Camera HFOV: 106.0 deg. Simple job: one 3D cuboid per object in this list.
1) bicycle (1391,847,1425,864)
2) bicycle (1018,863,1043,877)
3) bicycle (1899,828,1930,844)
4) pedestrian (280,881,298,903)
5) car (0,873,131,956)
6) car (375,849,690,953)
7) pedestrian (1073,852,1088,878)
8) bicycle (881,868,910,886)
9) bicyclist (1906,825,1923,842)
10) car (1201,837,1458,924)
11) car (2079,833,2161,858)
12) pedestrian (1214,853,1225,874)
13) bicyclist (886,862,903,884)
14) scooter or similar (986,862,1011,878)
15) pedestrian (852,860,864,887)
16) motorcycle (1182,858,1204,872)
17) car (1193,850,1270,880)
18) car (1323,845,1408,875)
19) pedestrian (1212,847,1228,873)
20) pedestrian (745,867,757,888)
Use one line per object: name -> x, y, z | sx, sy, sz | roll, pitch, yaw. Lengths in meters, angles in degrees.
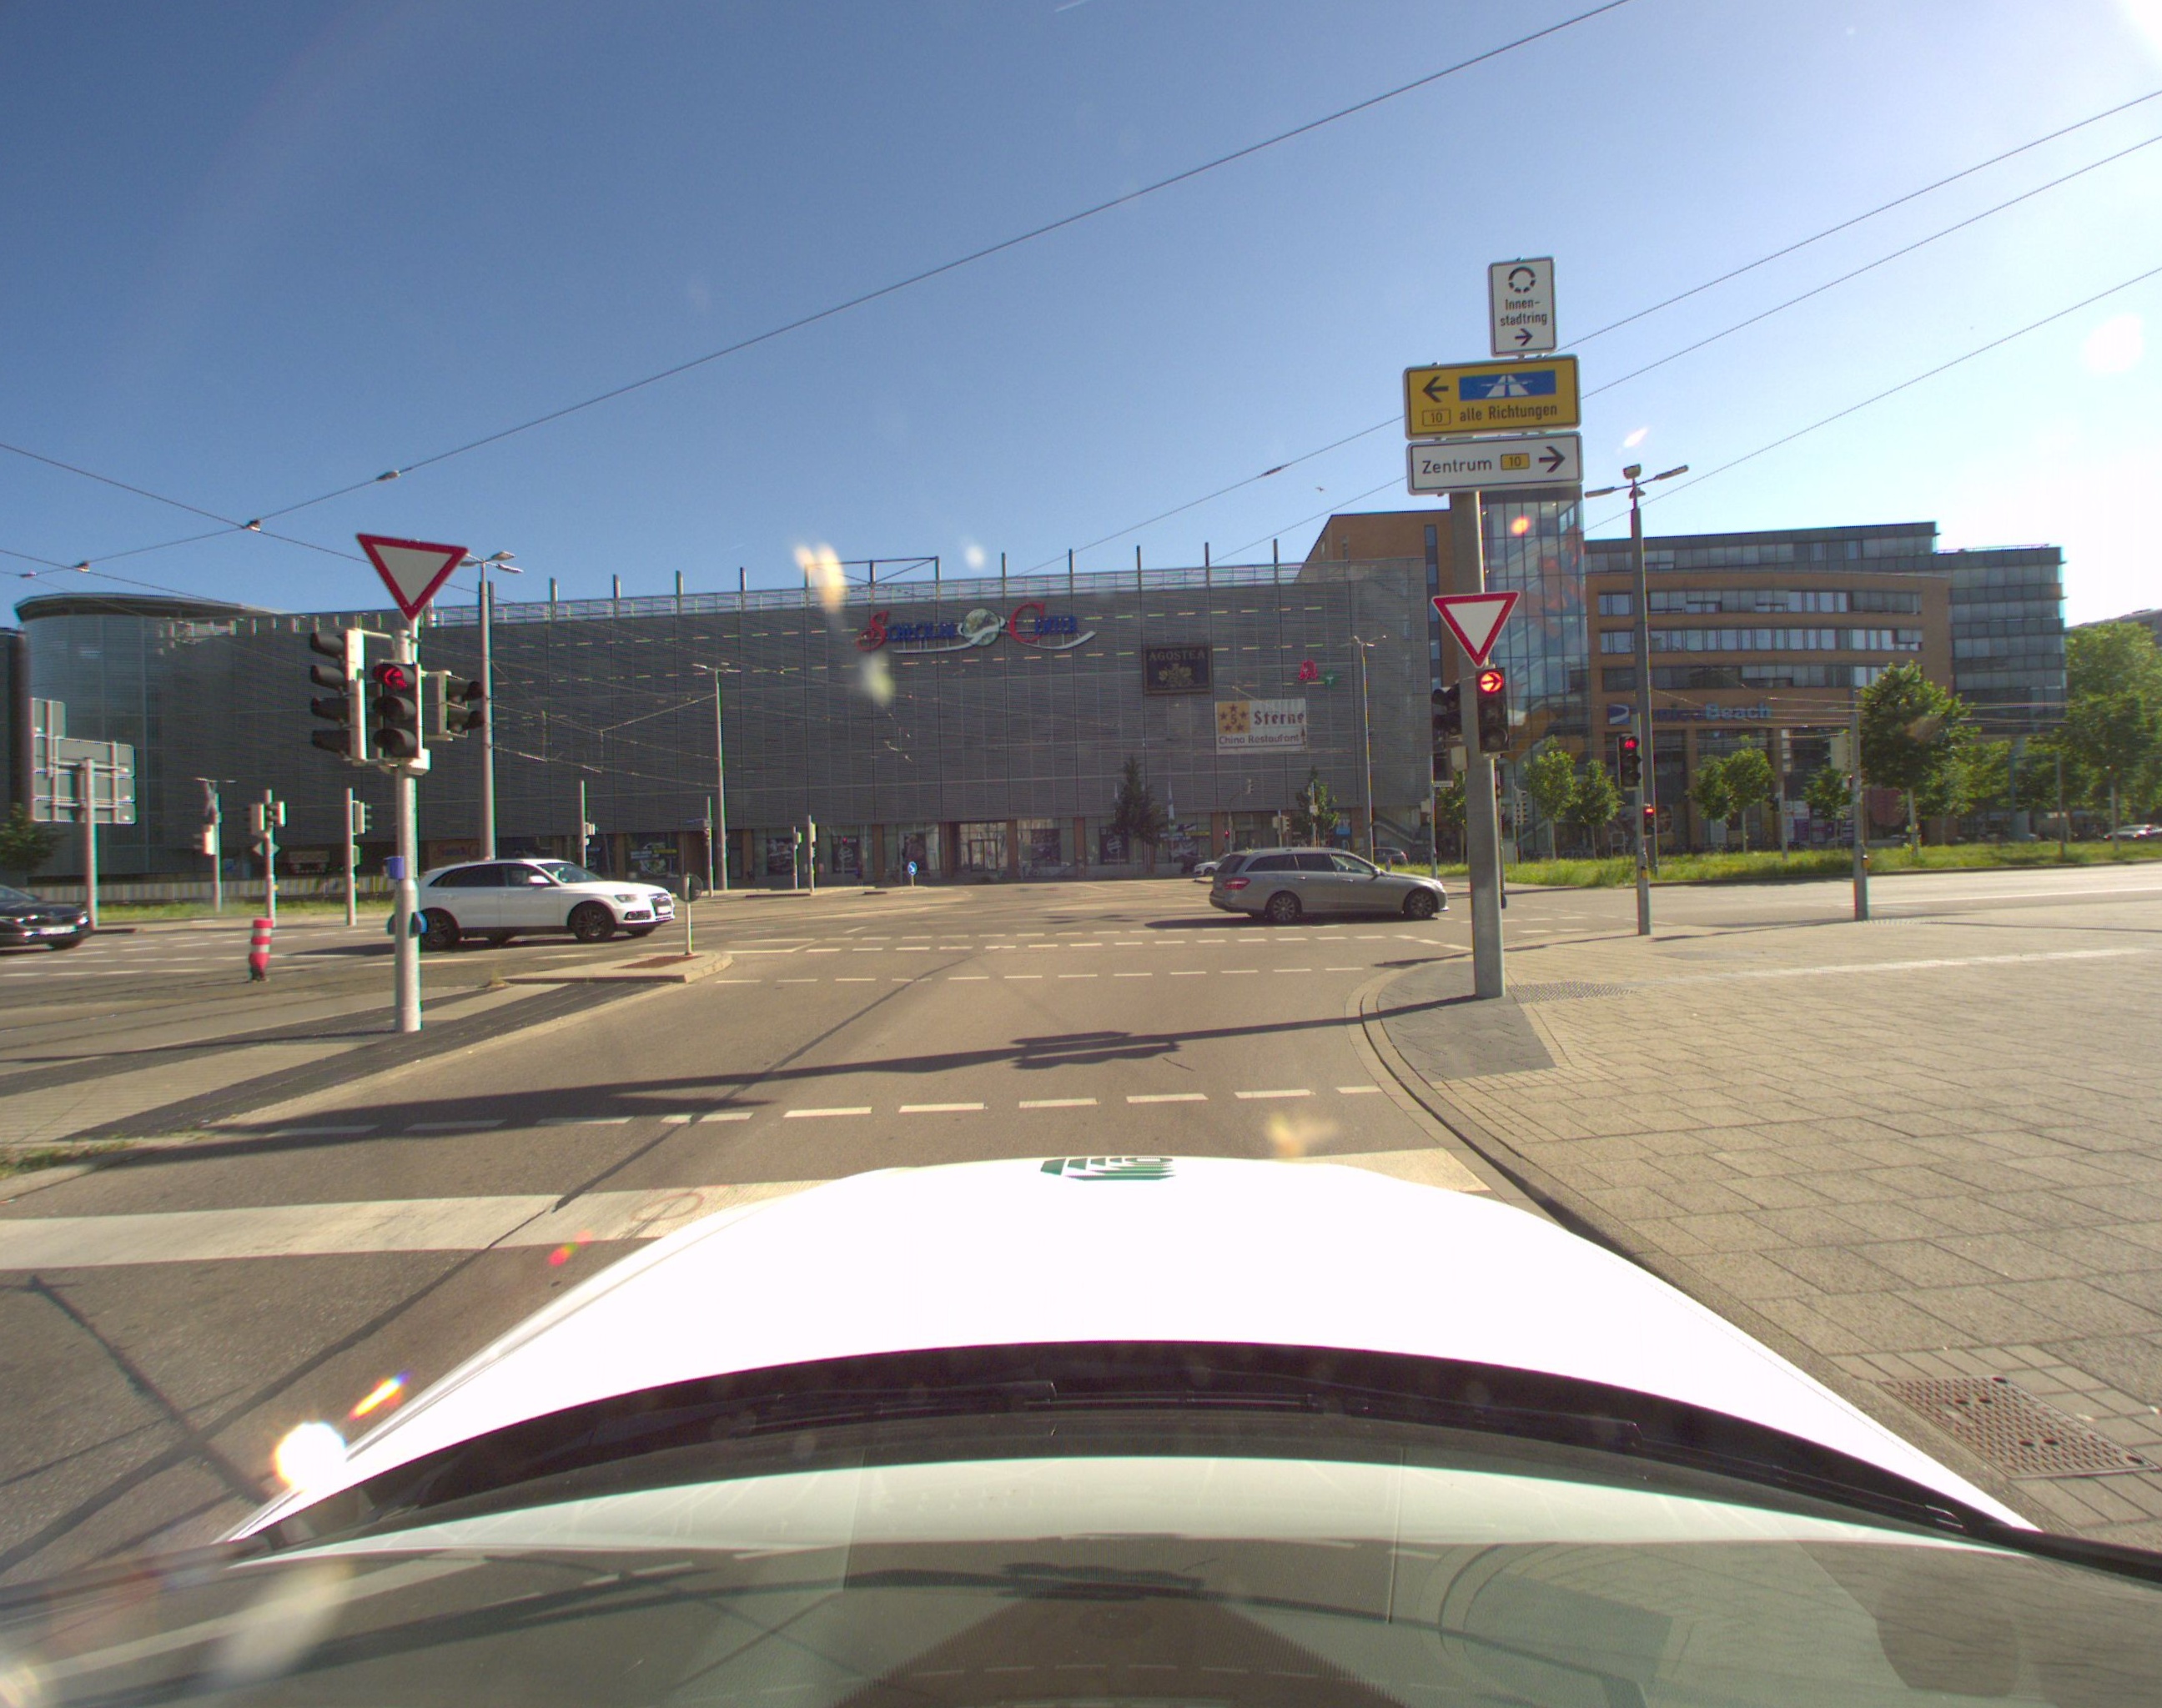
bicycle -> 24.341, 0.109, 60.613 | 2.247, 1.296, 0.606 | 0, -1, 0
bicycle -> -3.783, 1.168, 60.784 | 1.815, 0.989, 0.556 | -2, 1, -8
bicycle -> 66.559, -1.420, 65.028 | 1.850, 1.217, 0.569 | -2, 1, 1
pedestrian -> -57.845, 2.758, 59.474 | 0.656, 1.601, 0.652 | 0, -1, 8
car -> -21.717, 1.201, 15.670 | 4.653, 1.462, 1.833 | -2, 0, 0
car -> -10.419, 0.851, 15.763 | 4.656, 1.707, 1.936 | -2, 0, -2
pedestrian -> -0.026, 0.806, 59.854 | 0.945, 1.829, 0.847 | -3, -4, 7
bicycle -> -12.587, 1.577, 55.304 | 0.562, 1.086, 1.874 | -1, 2, 45
bicyclist -> 66.554, -1.645, 65.033 | 0.750, 1.386, 0.566 | -2, 1, 1
car -> 5.086, 0.522, 16.980 | 4.848, 1.572, 1.704 | -2, 0, -6
car -> 73.450, -0.577, 57.468 | 4.284, 1.584, 1.836 | 2, -1, -7
pedestrian -> 9.404, 0.627, 55.196 | 0.650, 1.414, 0.853 | -1, -1, 12
bicyclist -> -12.630, 1.267, 55.231 | 0.667, 1.427, 0.855 | -1, 2, 45
scooter or similar -> -6.185, 1.197, 61.225 | 1.790, 1.066, 0.611 | -2, 1, -6
pedestrian -> -15.204, 1.303, 55.455 | 0.695, 1.797, 0.727 | -3, 0, -14
motorcycle -> 8.311, 0.826, 60.590 | 1.630, 1.004, 0.448 | 0, 0, 8
car -> 8.998, 0.671, 48.946 | 4.274, 1.645, 1.841 | 2, -1, 1
car -> 15.882, 0.346, 45.614 | 4.132, 1.470, 1.841 | 2, -1, 0
pedestrian -> 10.110, 0.441, 59.171 | 1.007, 1.828, 1.037 | -3, 0, 5
pedestrian -> -25.542, 1.805, 62.986 | 0.654, 1.601, 0.597 | -1, -1, 20
